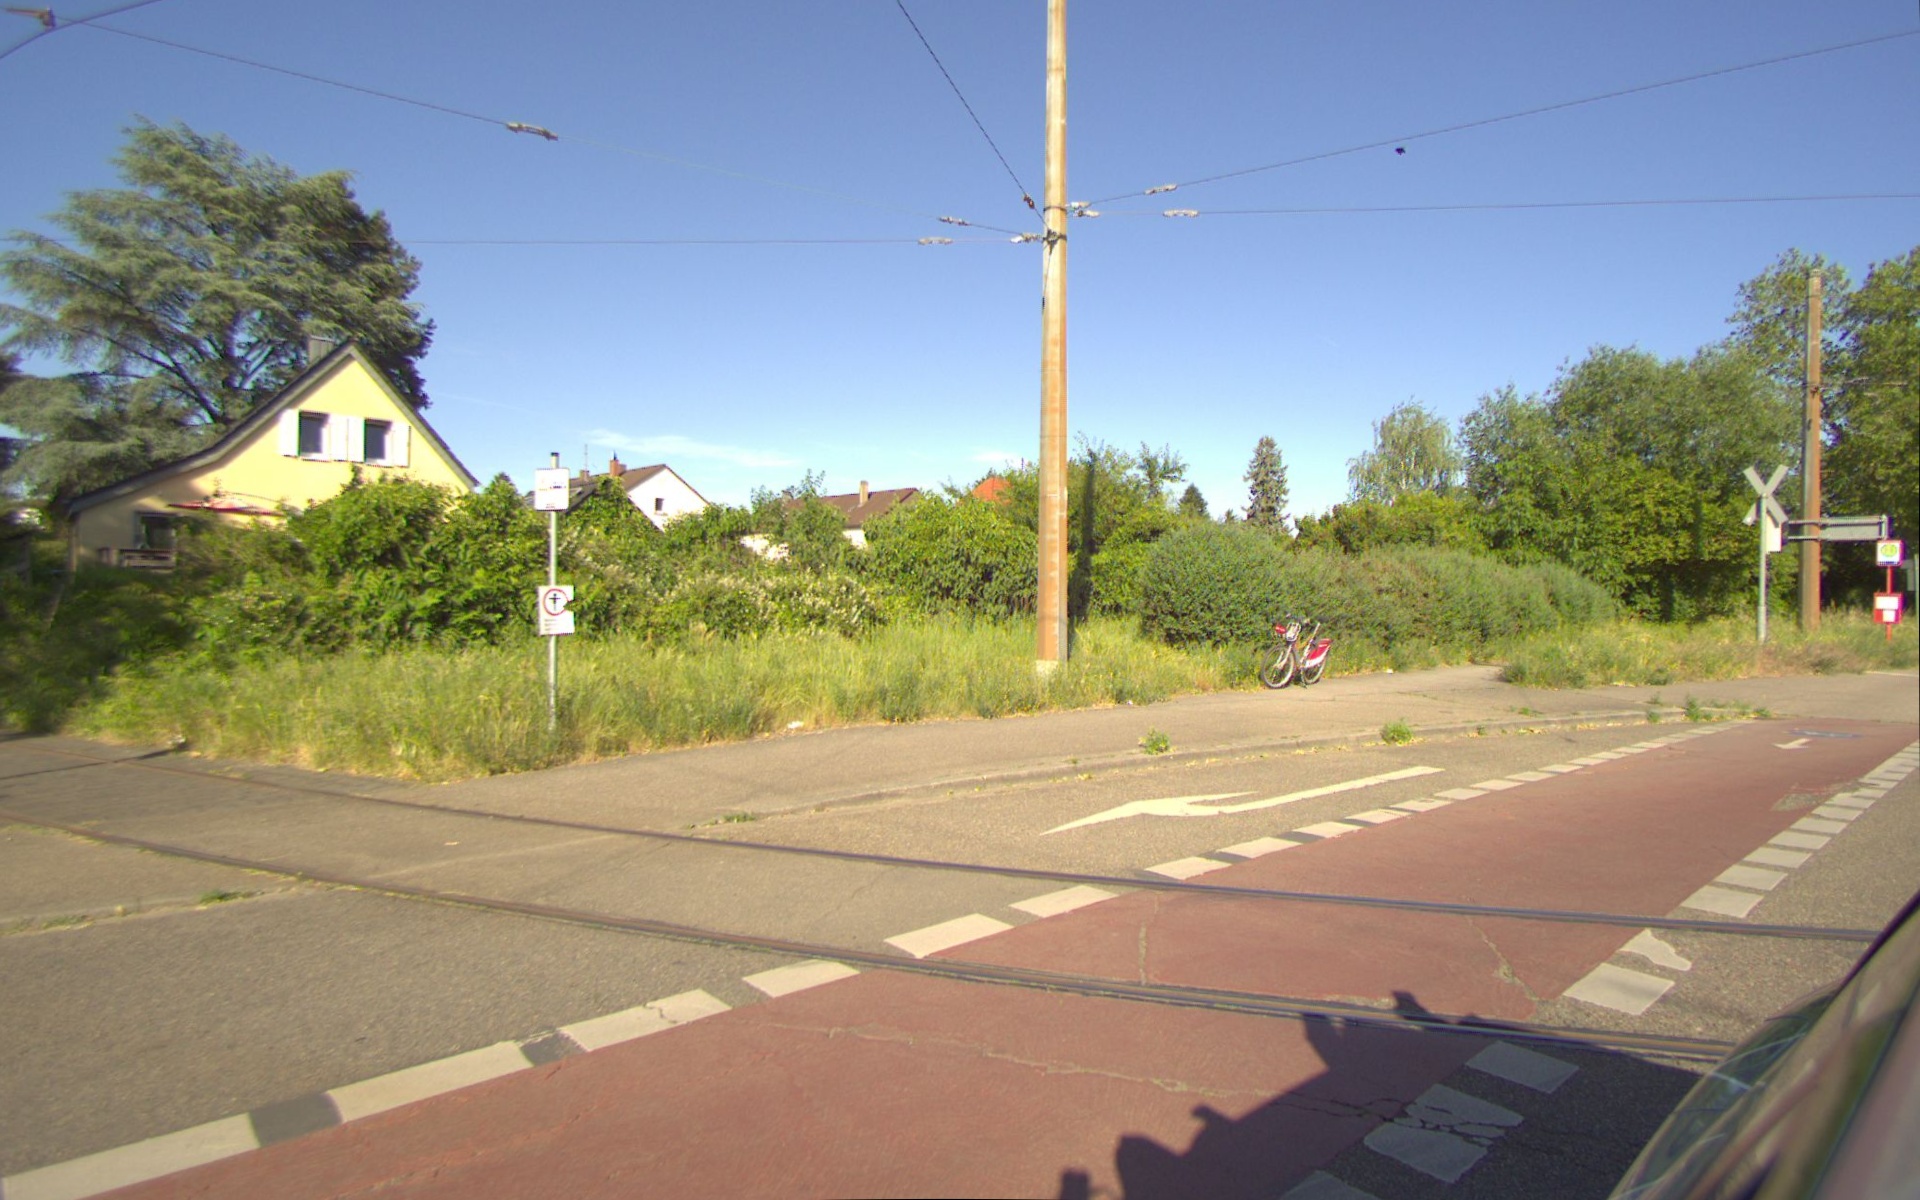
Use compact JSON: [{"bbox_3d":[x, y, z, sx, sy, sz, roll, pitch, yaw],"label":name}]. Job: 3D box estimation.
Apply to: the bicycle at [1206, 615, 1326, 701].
[{"bbox_3d":[4.389,0.794,14.419,2.054,1.149,0.366,1,0,-32],"label":"bicycle"}]
